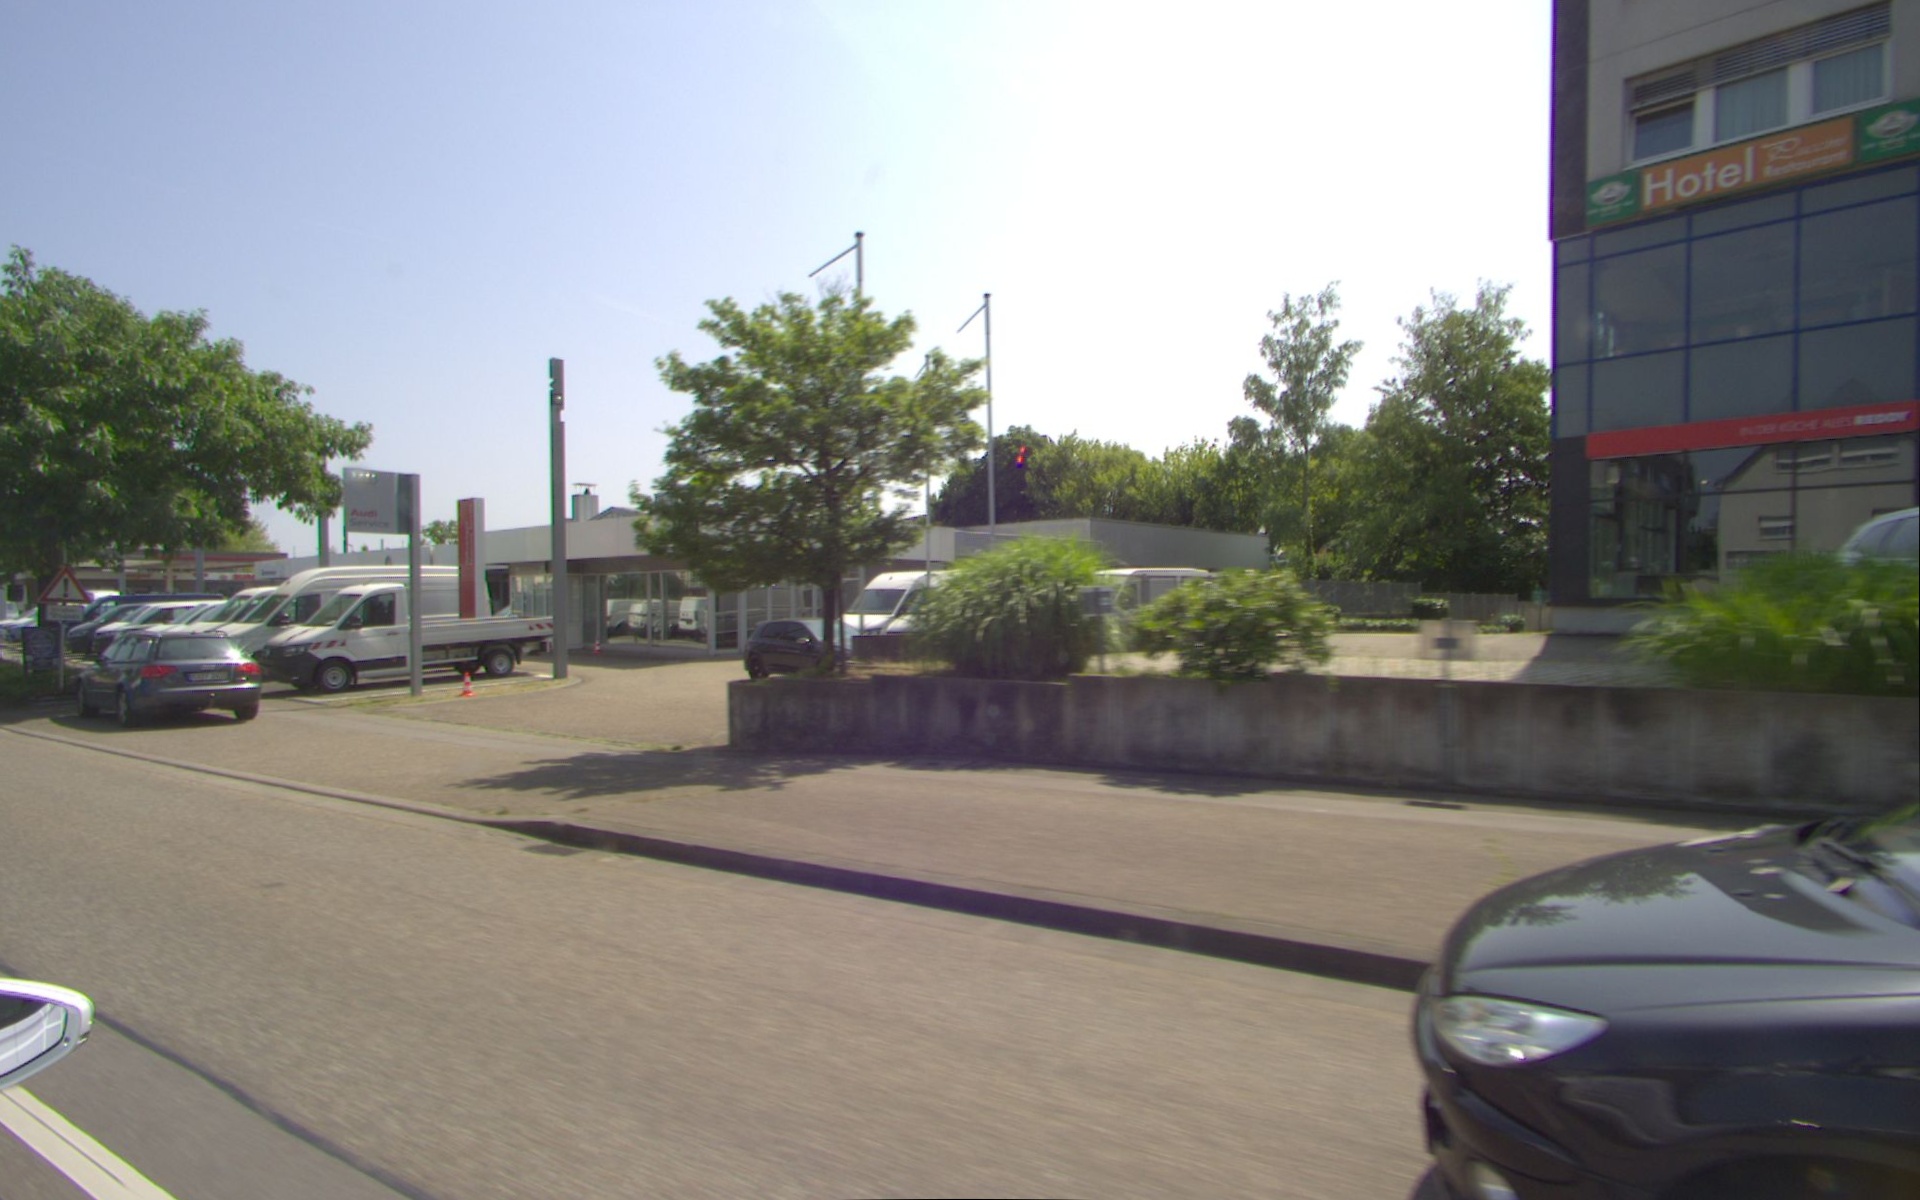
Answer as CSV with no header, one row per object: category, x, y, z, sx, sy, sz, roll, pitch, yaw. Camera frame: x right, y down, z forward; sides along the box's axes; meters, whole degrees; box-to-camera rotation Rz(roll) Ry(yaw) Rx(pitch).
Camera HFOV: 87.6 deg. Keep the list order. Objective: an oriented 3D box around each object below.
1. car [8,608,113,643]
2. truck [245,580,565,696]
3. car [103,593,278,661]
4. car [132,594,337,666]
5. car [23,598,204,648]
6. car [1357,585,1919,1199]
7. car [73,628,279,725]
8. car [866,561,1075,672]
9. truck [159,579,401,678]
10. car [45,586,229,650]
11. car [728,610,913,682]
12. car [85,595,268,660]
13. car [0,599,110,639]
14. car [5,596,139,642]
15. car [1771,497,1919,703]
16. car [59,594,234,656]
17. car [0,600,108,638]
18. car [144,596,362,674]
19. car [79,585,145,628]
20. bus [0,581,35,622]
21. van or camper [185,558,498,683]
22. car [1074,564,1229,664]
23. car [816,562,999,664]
car,-42.006,1.174,46.816,3.608,1.591,1.699,1,-1,-45
truck,-12.941,0.740,23.811,2.341,2.368,6.213,1,2,41
car,-27.121,0.915,35.408,2.173,2.041,4.485,-1,2,41
car,-22.894,0.875,31.767,2.116,1.997,4.889,0,1,40
car,-37.231,1.036,44.210,2.234,2.039,5.865,-1,-2,41
car,2.695,0.744,1.684,3.605,1.442,1.599,0,-3,29
car,-13.218,1.189,16.803,4.267,1.424,1.791,-1,-2,39
car,0.426,0.473,26.111,2.097,2.560,5.855,-2,-2,42
truck,-18.900,0.691,28.057,2.087,2.469,5.219,0,2,41
car,-34.857,0.806,42.546,2.181,2.556,5.813,-2,-2,42
car,-3.293,1.075,23.248,4.265,1.527,1.824,-2,-2,38
car,-29.270,0.956,37.566,2.015,2.125,5.040,0,2,39
car,-47.334,0.962,52.002,1.835,1.913,4.536,-1,0,39
car,-43.513,0.881,49.146,1.935,2.041,4.620,1,2,38
car,9.022,-0.020,8.131,1.963,1.735,4.737,-1,-2,15
car,-31.400,0.875,38.783,2.103,2.143,4.877,1,2,39
car,-46.956,0.964,51.737,1.859,1.804,4.131,-2,0,39
car,-20.975,0.945,29.898,2.133,2.141,4.927,0,1,39
car,-56.321,0.411,66.478,6.935,2.712,2.245,0,1,41
bus,-77.645,0.045,81.499,12.152,3.120,2.788,1,1,44
van or camper,-16.272,0.456,26.832,2.248,2.937,6.766,0,1,39
car,6.142,0.502,31.469,1.978,2.845,6.087,-2,-2,41
car,-1.355,0.414,27.917,2.015,2.568,5.257,-2,-2,41
